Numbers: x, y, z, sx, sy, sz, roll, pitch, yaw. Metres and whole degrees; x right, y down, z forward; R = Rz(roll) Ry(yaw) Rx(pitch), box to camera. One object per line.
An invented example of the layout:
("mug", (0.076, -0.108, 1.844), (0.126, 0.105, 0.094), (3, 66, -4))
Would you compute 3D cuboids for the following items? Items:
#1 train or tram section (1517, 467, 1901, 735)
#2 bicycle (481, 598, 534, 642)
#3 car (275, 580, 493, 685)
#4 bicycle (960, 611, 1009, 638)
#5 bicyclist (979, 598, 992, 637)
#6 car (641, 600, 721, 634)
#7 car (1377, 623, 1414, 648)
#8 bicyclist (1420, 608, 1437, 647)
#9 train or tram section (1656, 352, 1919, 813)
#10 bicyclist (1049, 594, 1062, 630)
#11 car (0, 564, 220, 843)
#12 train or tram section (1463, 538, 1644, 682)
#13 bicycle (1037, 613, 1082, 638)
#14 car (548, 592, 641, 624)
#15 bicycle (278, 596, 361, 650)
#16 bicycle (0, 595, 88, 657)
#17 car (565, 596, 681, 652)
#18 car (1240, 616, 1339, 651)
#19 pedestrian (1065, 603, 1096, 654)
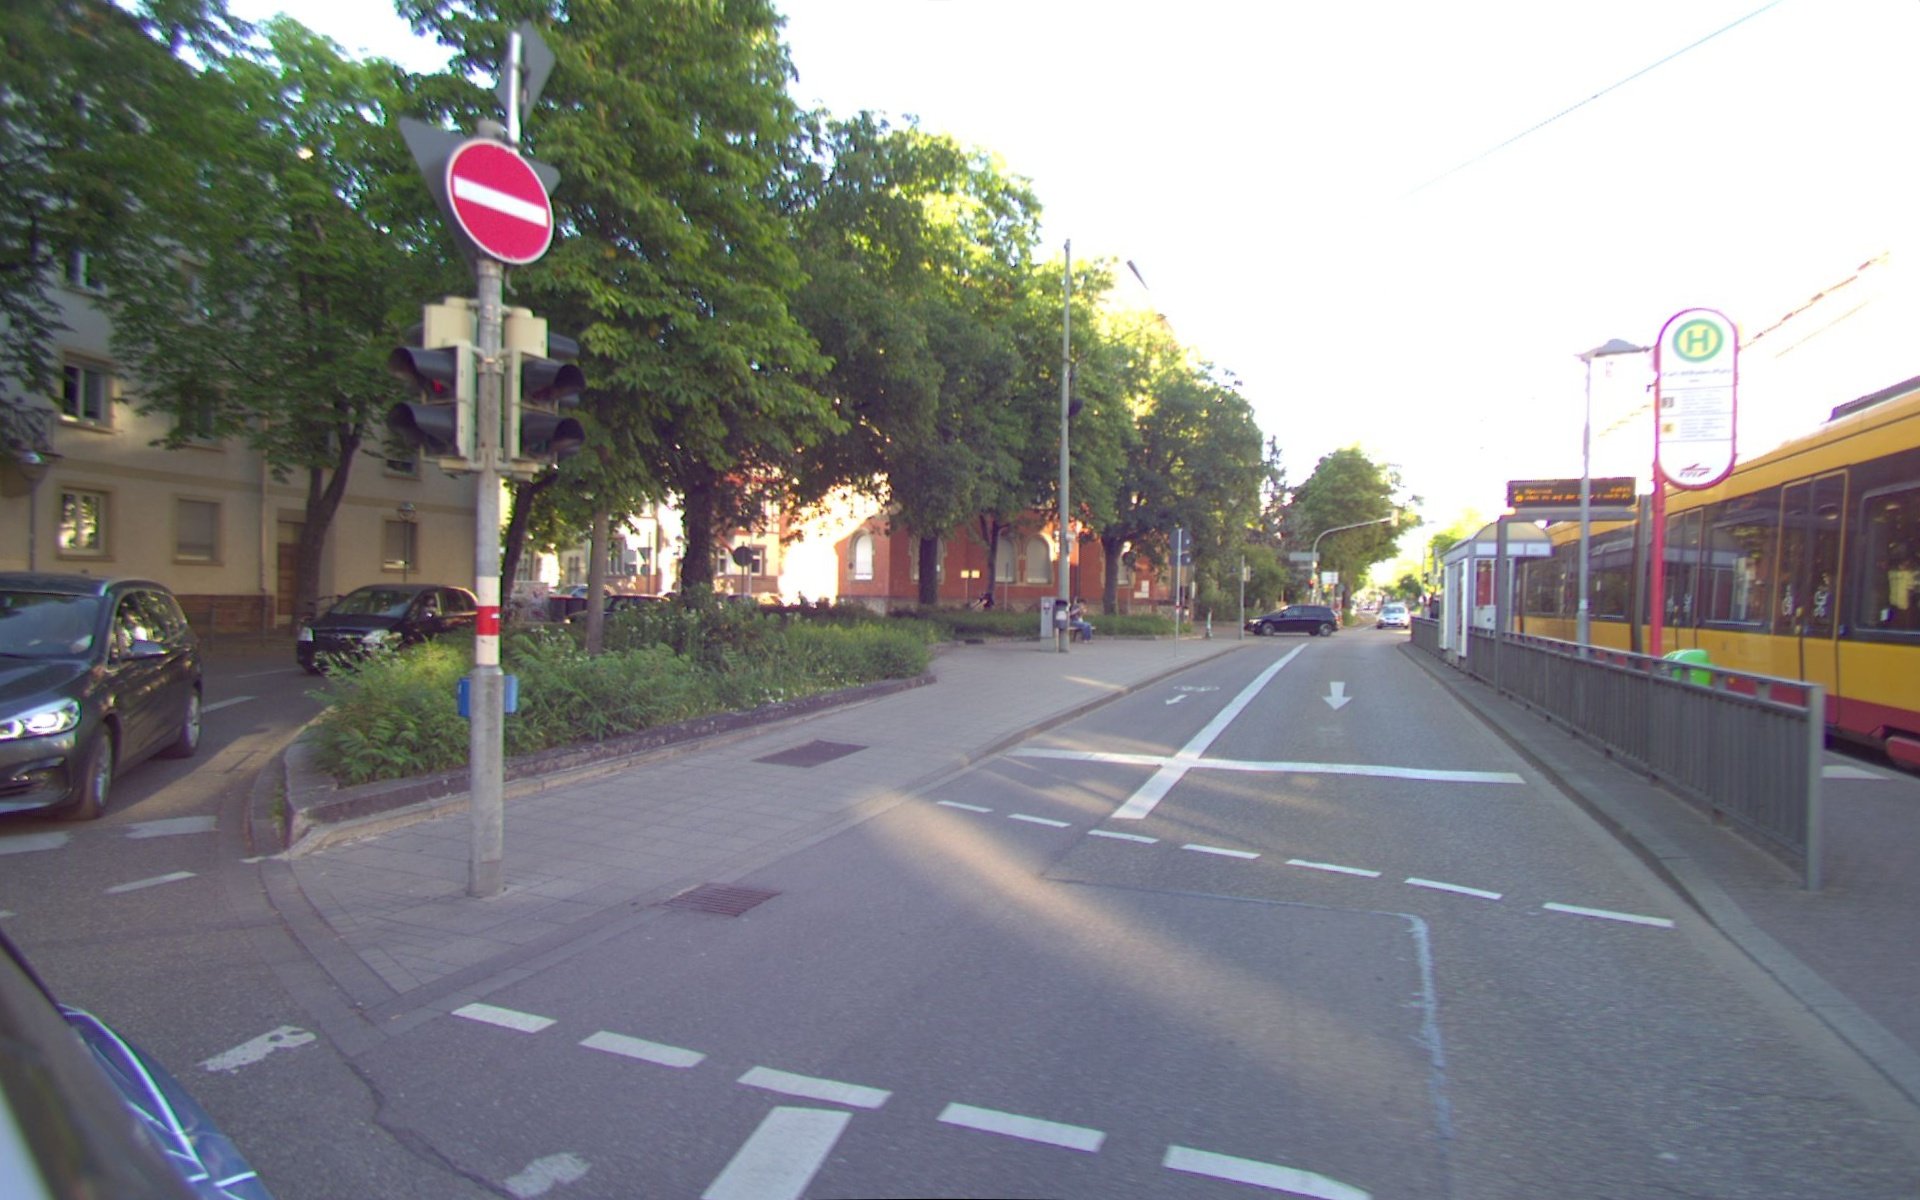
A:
("train or tram section", (13.569, 0.110, 19.931), (2.766, 3.614, 12.333), (1, -1, 21))
("bicycle", (-14.381, 0.632, 32.194), (0.758, 1.314, 1.902), (2, -1, 2))
("car", (-10.299, 0.554, 18.430), (1.659, 1.640, 3.684), (2, -1, 3))
("bicycle", (1.016, 1.000, 41.976), (1.957, 1.065, 0.637), (2, -1, 5))
("bicyclist", (1.064, 0.710, 41.946), (0.495, 1.585, 0.494), (2, -1, 5))
("car", (-13.645, 0.811, 49.453), (4.185, 1.564, 1.781), (0, -2, 42))
("car", (26.576, 2.137, 61.702), (1.729, 1.428, 3.961), (1, -1, 28))
("bicyclist", (19.516, 1.144, 42.145), (0.594, 1.585, 0.551), (1, -1, 23))
("train or tram section", (9.332, -0.103, 8.669), (2.780, 3.647, 11.718), (1, -1, 21))
("bicyclist", (4.279, 0.551, 45.368), (0.548, 1.585, 0.597), (2, -1, 4))
("car", (-6.978, 0.559, 7.412), (1.763, 1.590, 4.275), (3, -1, -26))
("train or tram section", (17.970, 0.339, 31.606), (2.754, 3.584, 12.593), (1, -1, 21))
("bicycle", (4.429, 1.149, 45.345), (1.956, 1.065, 0.637), (2, -1, 4))
("car", (-17.076, 0.394, 47.399), (1.675, 1.436, 3.754), (1, -1, 39))
("bicycle", (-15.398, 0.543, 24.391), (0.710, 1.232, 1.913), (2, -1, 1))
("bicycle", (-17.544, 0.477, 19.262), (0.789, 1.127, 1.864), (2, -1, -20))
("car", (-9.557, 0.658, 29.001), (1.661, 1.419, 3.678), (3, -1, 8))
("car", (15.103, 1.522, 46.552), (3.949, 1.454, 1.975), (2, -1, 5))
("pedestrian", (3.522, 0.830, 29.569), (0.707, 1.454, 0.594), (1, -1, 28))
